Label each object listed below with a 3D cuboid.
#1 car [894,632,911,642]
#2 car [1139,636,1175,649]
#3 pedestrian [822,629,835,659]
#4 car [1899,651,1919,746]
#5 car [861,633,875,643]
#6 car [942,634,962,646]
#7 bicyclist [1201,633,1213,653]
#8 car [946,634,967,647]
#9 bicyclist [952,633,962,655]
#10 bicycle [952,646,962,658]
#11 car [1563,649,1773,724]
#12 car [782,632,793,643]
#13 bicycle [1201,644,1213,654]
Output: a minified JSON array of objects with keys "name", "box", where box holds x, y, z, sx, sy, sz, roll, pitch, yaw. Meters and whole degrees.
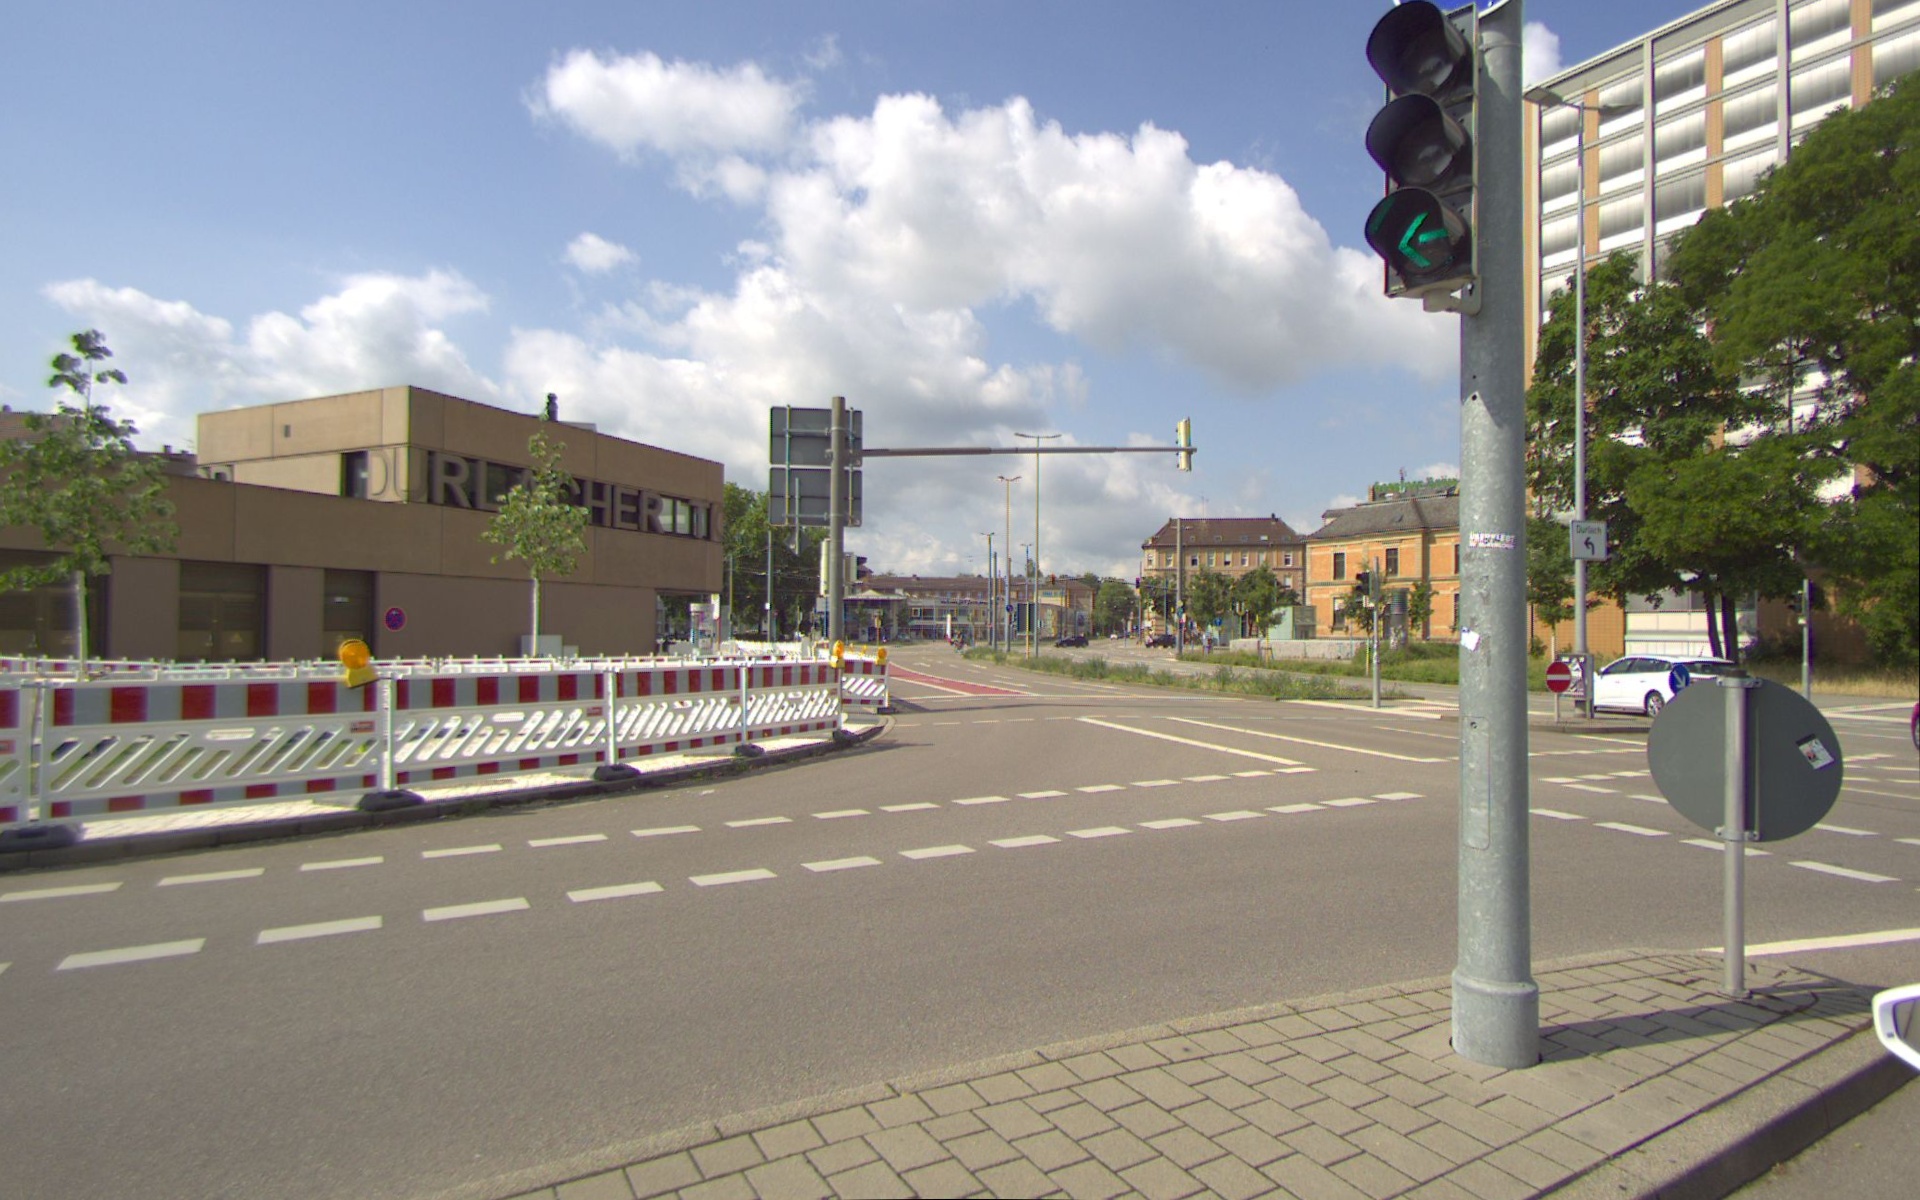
[{"name":"car","box":[-9.780,6.252,170.582,1.967,1.617,3.988,1,-2,-15]},{"name":"car","box":[24.257,5.224,123.859,4.019,1.528,1.806,1,-2,-20]},{"name":"pedestrian","box":[-7.537,2.533,57.415,0.724,1.703,0.640,1,-2,-8]},{"name":"car","box":[15.102,1.481,13.950,1.788,1.458,4.065,0,-2,25]},{"name":"car","box":[-15.430,6.359,168.873,1.965,1.572,4.071,1,-2,-11]},{"name":"car","box":[-1.029,5.341,133.659,1.959,1.550,4.003,0,-2,9]},{"name":"bicyclist","box":[21.598,3.783,87.886,0.723,1.724,0.965,-1,-1,1]},{"name":"car","box":[-0.462,5.365,133.165,1.814,1.742,4.003,0,-2,13]},{"name":"bicyclist","box":[-0.257,3.770,85.977,0.797,1.846,1.160,1,-2,5]},{"name":"bicycle","box":[-0.219,4.467,86.204,0.606,1.015,2.020,1,-2,6]},{"name":"car","box":[16.053,1.898,23.090,1.817,1.491,4.336,0,-2,1]},{"name":"car","box":[-29.159,6.295,169.660,1.771,1.792,3.993,1,-2,-10]},{"name":"bicycle","box":[21.594,4.279,87.737,0.614,0.821,1.789,-1,-2,0]}]
